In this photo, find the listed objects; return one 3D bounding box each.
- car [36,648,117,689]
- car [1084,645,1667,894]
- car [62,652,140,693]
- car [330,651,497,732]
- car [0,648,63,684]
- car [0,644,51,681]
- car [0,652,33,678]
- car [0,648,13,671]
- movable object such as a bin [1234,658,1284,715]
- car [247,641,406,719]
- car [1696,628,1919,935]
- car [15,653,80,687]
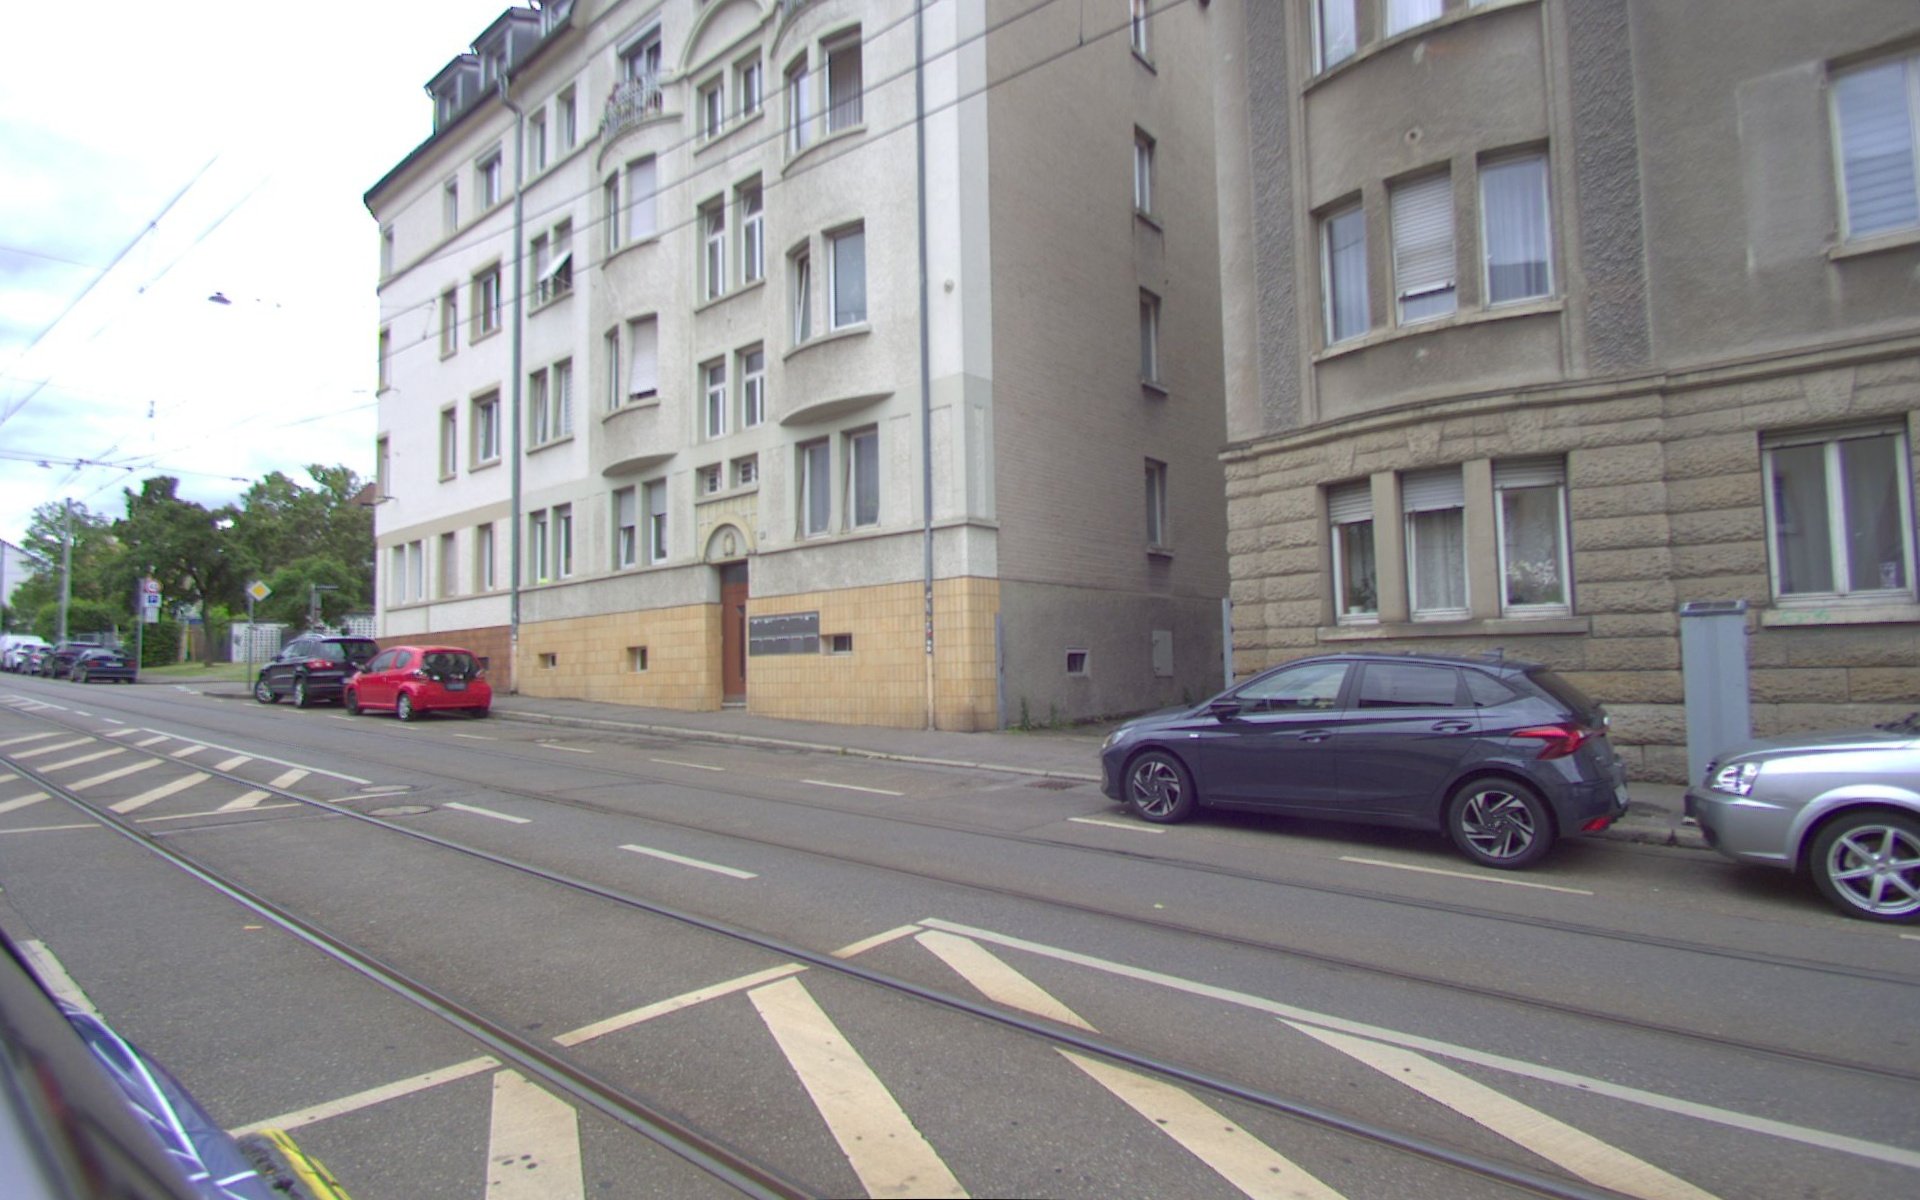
[{"bbox_3d":[-39.114,3.002,44.762,4.440,1.699,1.949,-1,-4,40],"label":"car"},{"bbox_3d":[3.132,1.134,8.107,4.029,1.474,1.604,-1,-4,40],"label":"car"},{"bbox_3d":[-34.390,2.860,40.485,4.152,1.489,1.604,-1,-4,40],"label":"car"},{"bbox_3d":[-11.269,1.822,20.811,3.740,1.474,1.605,-1,-4,38],"label":"car"},{"bbox_3d":[-48.414,3.402,52.564,4.629,1.699,1.949,-1,-4,40],"label":"car"},{"bbox_3d":[-52.397,3.449,56.312,4.730,1.927,1.949,-1,-4,40],"label":"car"},{"bbox_3d":[-56.774,3.845,60.140,4.514,1.398,1.821,-1,-4,40],"label":"car"},{"bbox_3d":[-61.905,3.765,64.411,4.436,1.398,1.821,-1,-4,40],"label":"car"},{"bbox_3d":[6.286,1.801,21.283,0.657,1.135,0.954,-2,-3,42],"label":"movable object such as a bin"},{"bbox_3d":[-15.142,1.843,24.103,4.398,1.658,1.849,-1,-4,40],"label":"car"},{"bbox_3d":[6.529,0.954,5.179,4.347,1.617,1.604,-3,-5,40],"label":"car"},{"bbox_3d":[-44.129,3.346,48.903,3.865,1.520,1.721,-1,-4,40],"label":"car"}]
